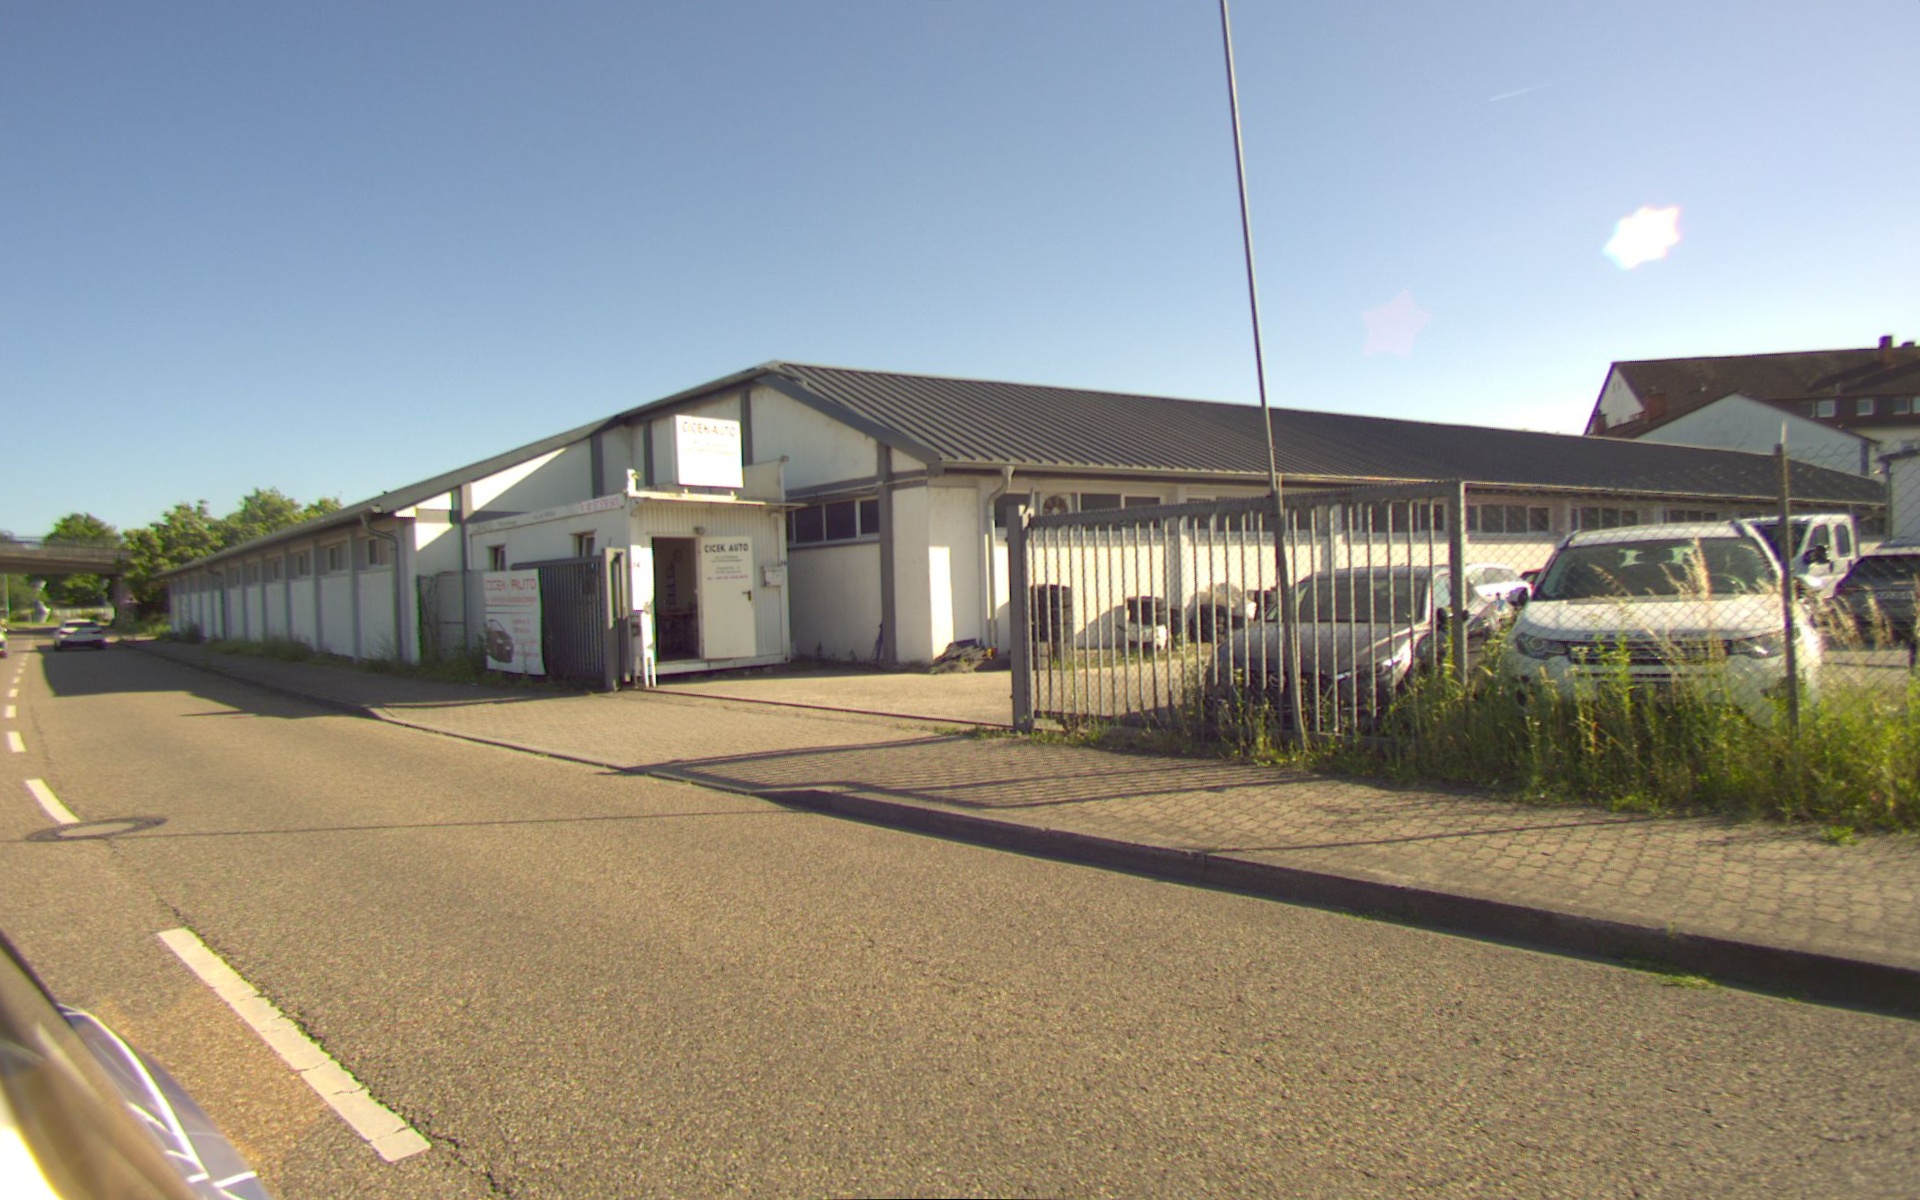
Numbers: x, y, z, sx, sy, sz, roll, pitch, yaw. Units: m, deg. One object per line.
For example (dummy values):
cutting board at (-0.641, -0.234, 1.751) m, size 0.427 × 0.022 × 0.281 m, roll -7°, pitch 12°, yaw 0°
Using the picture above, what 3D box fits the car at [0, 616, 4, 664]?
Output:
car at (-38.769, 1.559, 39.580) m, size 4.297 × 1.838 × 1.856 m, roll -1°, pitch 0°, yaw 45°

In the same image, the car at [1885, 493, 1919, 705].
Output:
car at (7.813, 0.003, 6.734) m, size 1.836 × 1.661 × 4.352 m, roll -1°, pitch 1°, yaw 35°

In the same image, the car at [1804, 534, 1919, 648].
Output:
car at (14.999, -0.187, 15.433) m, size 4.328 × 1.574 × 1.846 m, roll -2°, pitch 1°, yaw -29°

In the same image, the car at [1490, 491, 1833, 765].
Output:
car at (5.851, 0.130, 8.439) m, size 1.837 × 1.661 × 4.349 m, roll -1°, pitch 1°, yaw 37°

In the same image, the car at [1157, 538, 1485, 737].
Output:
car at (3.765, 0.247, 10.013) m, size 1.837 × 1.518 × 4.349 m, roll -1°, pitch 1°, yaw 37°

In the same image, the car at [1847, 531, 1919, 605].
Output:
car at (23.371, -0.792, 24.250) m, size 4.328 × 1.661 × 1.846 m, roll -2°, pitch 1°, yaw -29°

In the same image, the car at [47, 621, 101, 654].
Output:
car at (-42.948, 1.773, 49.036) m, size 1.787 × 1.489 × 4.692 m, roll 0°, pitch -1°, yaw -43°

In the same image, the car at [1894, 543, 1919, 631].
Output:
car at (19.283, -0.304, 18.599) m, size 4.328 × 1.574 × 1.846 m, roll -2°, pitch 1°, yaw -29°

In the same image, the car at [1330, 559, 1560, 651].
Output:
car at (9.460, 0.053, 19.672) m, size 4.328 × 1.574 × 1.846 m, roll -2°, pitch 1°, yaw -29°

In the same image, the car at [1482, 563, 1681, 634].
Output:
car at (13.712, -0.064, 22.281) m, size 4.328 × 1.385 × 1.846 m, roll -2°, pitch 1°, yaw -29°

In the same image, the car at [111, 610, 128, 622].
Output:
car at (-136.429, 2.573, 164.289) m, size 1.968 × 1.791 × 4.375 m, roll -2°, pitch 1°, yaw -37°

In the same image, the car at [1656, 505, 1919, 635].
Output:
car at (16.765, -0.664, 20.419) m, size 5.665 × 2.289 × 2.117 m, roll -3°, pitch 2°, yaw -29°
